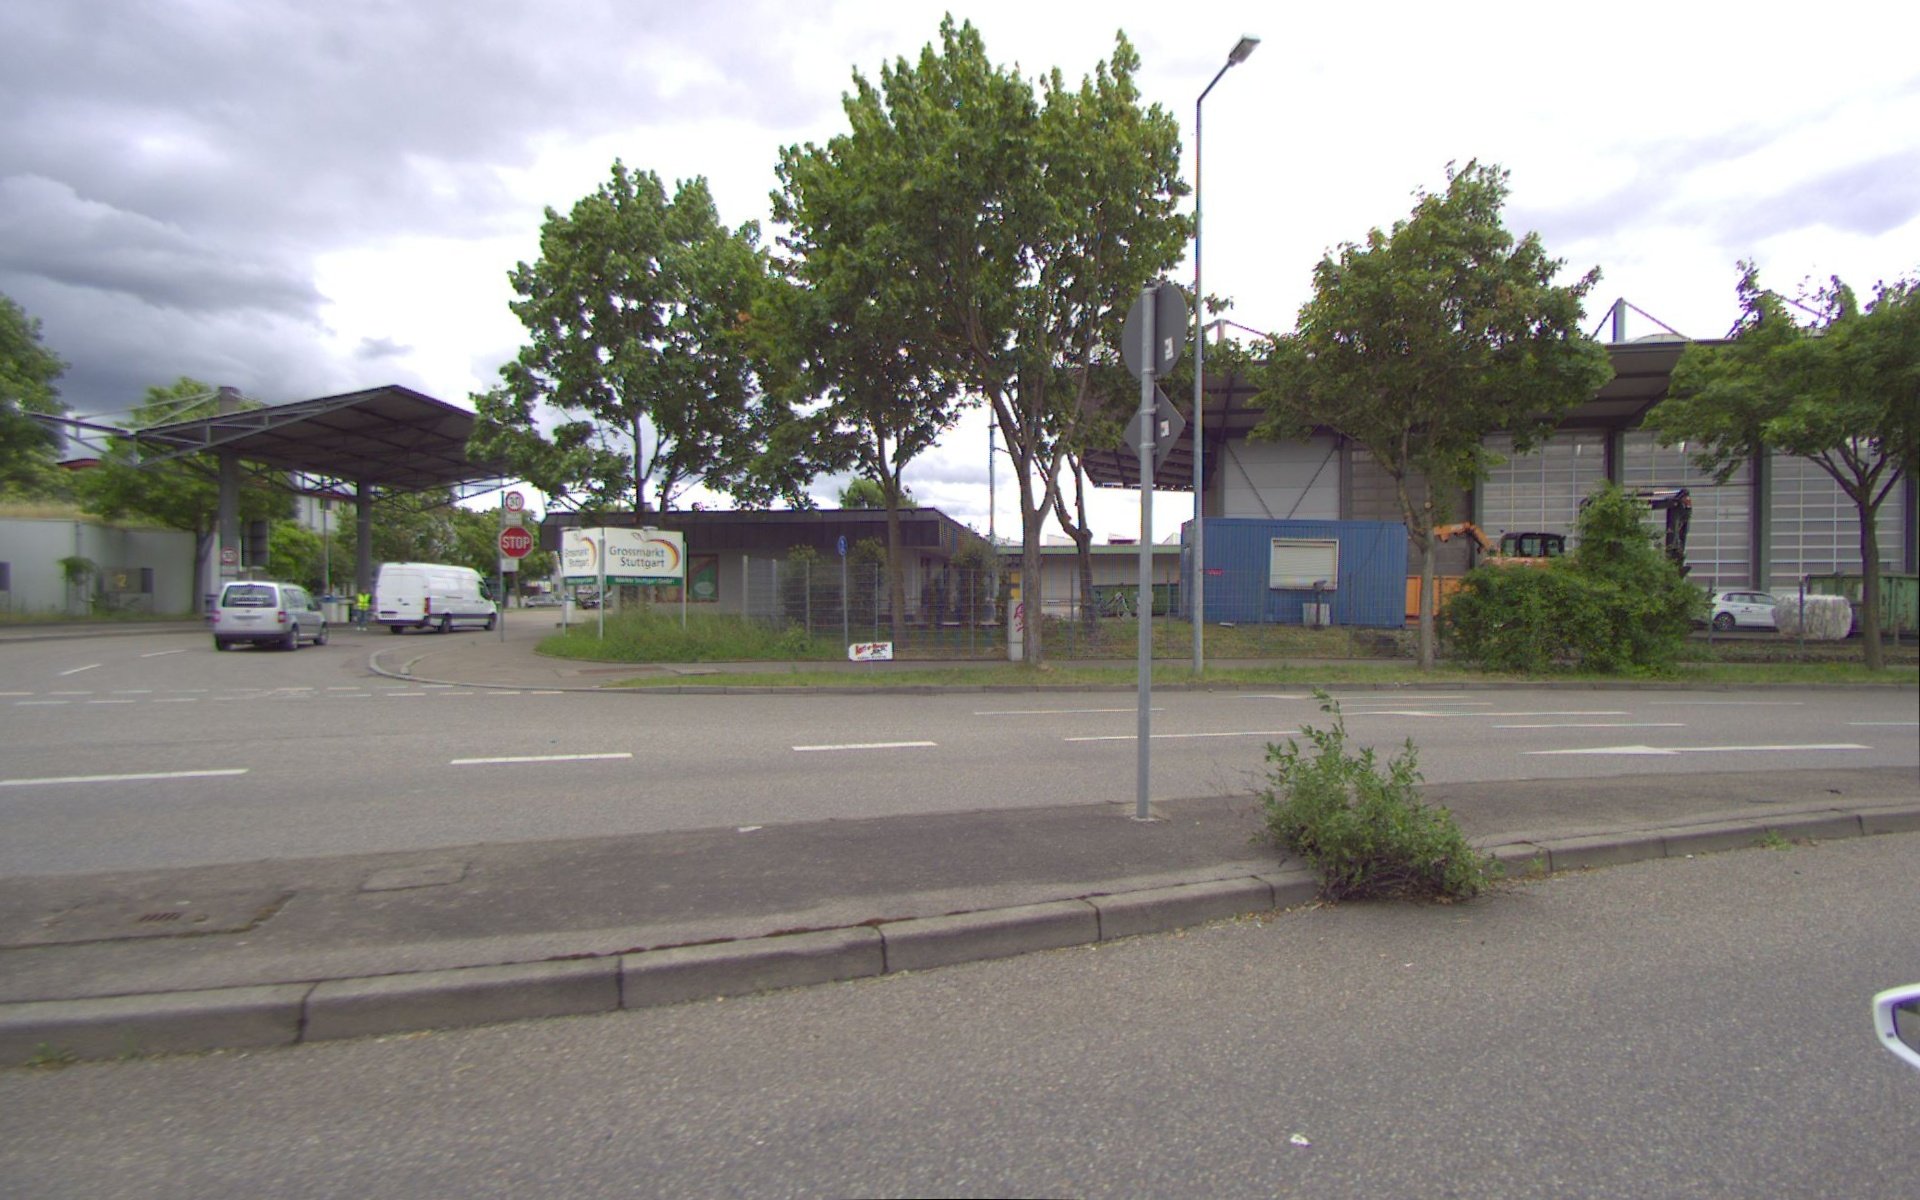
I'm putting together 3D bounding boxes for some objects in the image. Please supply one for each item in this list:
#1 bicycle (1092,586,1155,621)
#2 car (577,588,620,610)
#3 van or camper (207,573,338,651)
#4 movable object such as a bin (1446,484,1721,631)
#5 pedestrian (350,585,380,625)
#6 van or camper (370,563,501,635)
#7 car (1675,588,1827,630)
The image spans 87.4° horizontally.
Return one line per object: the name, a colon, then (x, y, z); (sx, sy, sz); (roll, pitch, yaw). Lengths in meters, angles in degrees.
bicycle: (4.714, 0.098, 29.023); (1.726, 0.987, 0.663); (0, 0, 3)
car: (-29.053, -0.073, 80.868); (1.818, 1.667, 4.001); (1, 0, 2)
van or camper: (-19.117, 0.312, 28.147); (1.928, 1.989, 4.258); (1, 0, -19)
movable object such as a bin: (18.312, -1.178, 29.850); (6.420, 4.145, 2.735); (0, 0, 4)
pedestrian: (-23.606, 0.197, 39.844); (0.755, 1.579, 0.816); (0, 0, -6)
van or camper: (-20.473, -0.098, 39.622); (2.288, 2.591, 6.570); (0, 1, -6)
car: (28.395, 0.318, 36.191); (3.919, 1.392, 1.739); (1, 0, 11)
